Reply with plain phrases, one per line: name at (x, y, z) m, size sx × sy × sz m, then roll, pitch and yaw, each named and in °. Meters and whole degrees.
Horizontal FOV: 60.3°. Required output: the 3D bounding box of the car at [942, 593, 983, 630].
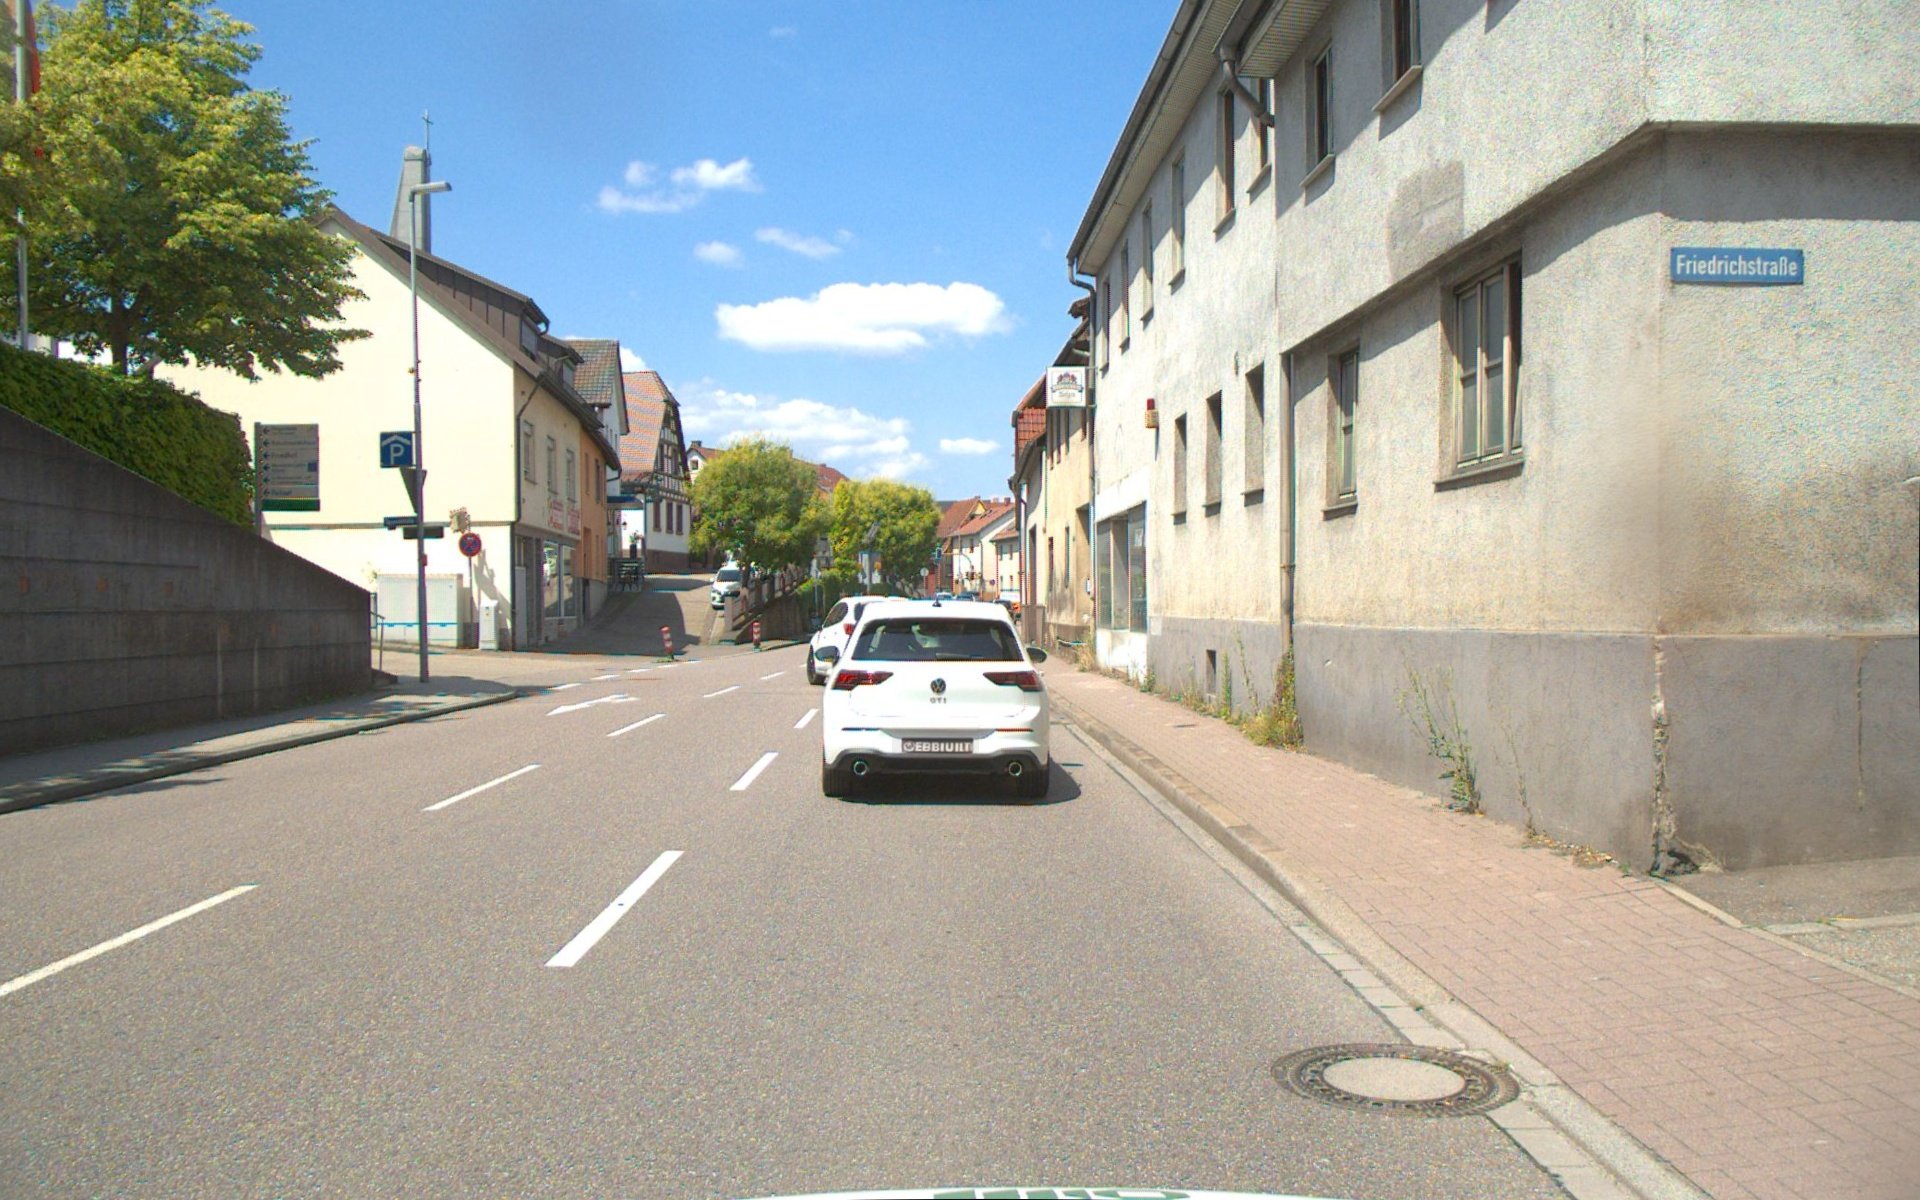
car at (0.146, 0.501, 72.976) m, size 1.739 × 1.565 × 4.000 m, roll -1°, pitch 0°, yaw 1°

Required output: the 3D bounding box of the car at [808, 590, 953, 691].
car at (-1.364, 0.616, 26.755) m, size 1.775 × 1.493 × 3.989 m, roll 1°, pitch 0°, yaw -11°

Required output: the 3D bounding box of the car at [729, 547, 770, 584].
car at (-9.929, -1.652, 78.308) m, size 1.545 × 1.385 × 3.857 m, roll -1°, pitch 6°, yaw -2°

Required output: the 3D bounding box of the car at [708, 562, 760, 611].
car at (-9.026, -0.568, 66.310) m, size 1.659 × 1.569 × 3.857 m, roll -1°, pitch 6°, yaw -2°

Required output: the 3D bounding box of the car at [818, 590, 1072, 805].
car at (-0.087, 0.693, 13.663) m, size 1.770 × 1.493 × 4.000 m, roll 1°, pitch 0°, yaw 0°

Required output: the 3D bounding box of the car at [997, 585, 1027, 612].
car at (3.551, -0.099, 112.257) m, size 1.738 × 1.796 × 4.003 m, roll -1°, pitch 0°, yaw 6°

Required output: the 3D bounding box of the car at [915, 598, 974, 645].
car at (-0.486, 0.701, 55.069) m, size 1.770 × 1.493 × 4.001 m, roll 1°, pitch 0°, yaw 2°

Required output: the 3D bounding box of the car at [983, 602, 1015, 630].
car at (2.291, 0.915, 96.442) m, size 1.738 × 1.565 × 4.002 m, roll -1°, pitch 0°, yaw 3°
